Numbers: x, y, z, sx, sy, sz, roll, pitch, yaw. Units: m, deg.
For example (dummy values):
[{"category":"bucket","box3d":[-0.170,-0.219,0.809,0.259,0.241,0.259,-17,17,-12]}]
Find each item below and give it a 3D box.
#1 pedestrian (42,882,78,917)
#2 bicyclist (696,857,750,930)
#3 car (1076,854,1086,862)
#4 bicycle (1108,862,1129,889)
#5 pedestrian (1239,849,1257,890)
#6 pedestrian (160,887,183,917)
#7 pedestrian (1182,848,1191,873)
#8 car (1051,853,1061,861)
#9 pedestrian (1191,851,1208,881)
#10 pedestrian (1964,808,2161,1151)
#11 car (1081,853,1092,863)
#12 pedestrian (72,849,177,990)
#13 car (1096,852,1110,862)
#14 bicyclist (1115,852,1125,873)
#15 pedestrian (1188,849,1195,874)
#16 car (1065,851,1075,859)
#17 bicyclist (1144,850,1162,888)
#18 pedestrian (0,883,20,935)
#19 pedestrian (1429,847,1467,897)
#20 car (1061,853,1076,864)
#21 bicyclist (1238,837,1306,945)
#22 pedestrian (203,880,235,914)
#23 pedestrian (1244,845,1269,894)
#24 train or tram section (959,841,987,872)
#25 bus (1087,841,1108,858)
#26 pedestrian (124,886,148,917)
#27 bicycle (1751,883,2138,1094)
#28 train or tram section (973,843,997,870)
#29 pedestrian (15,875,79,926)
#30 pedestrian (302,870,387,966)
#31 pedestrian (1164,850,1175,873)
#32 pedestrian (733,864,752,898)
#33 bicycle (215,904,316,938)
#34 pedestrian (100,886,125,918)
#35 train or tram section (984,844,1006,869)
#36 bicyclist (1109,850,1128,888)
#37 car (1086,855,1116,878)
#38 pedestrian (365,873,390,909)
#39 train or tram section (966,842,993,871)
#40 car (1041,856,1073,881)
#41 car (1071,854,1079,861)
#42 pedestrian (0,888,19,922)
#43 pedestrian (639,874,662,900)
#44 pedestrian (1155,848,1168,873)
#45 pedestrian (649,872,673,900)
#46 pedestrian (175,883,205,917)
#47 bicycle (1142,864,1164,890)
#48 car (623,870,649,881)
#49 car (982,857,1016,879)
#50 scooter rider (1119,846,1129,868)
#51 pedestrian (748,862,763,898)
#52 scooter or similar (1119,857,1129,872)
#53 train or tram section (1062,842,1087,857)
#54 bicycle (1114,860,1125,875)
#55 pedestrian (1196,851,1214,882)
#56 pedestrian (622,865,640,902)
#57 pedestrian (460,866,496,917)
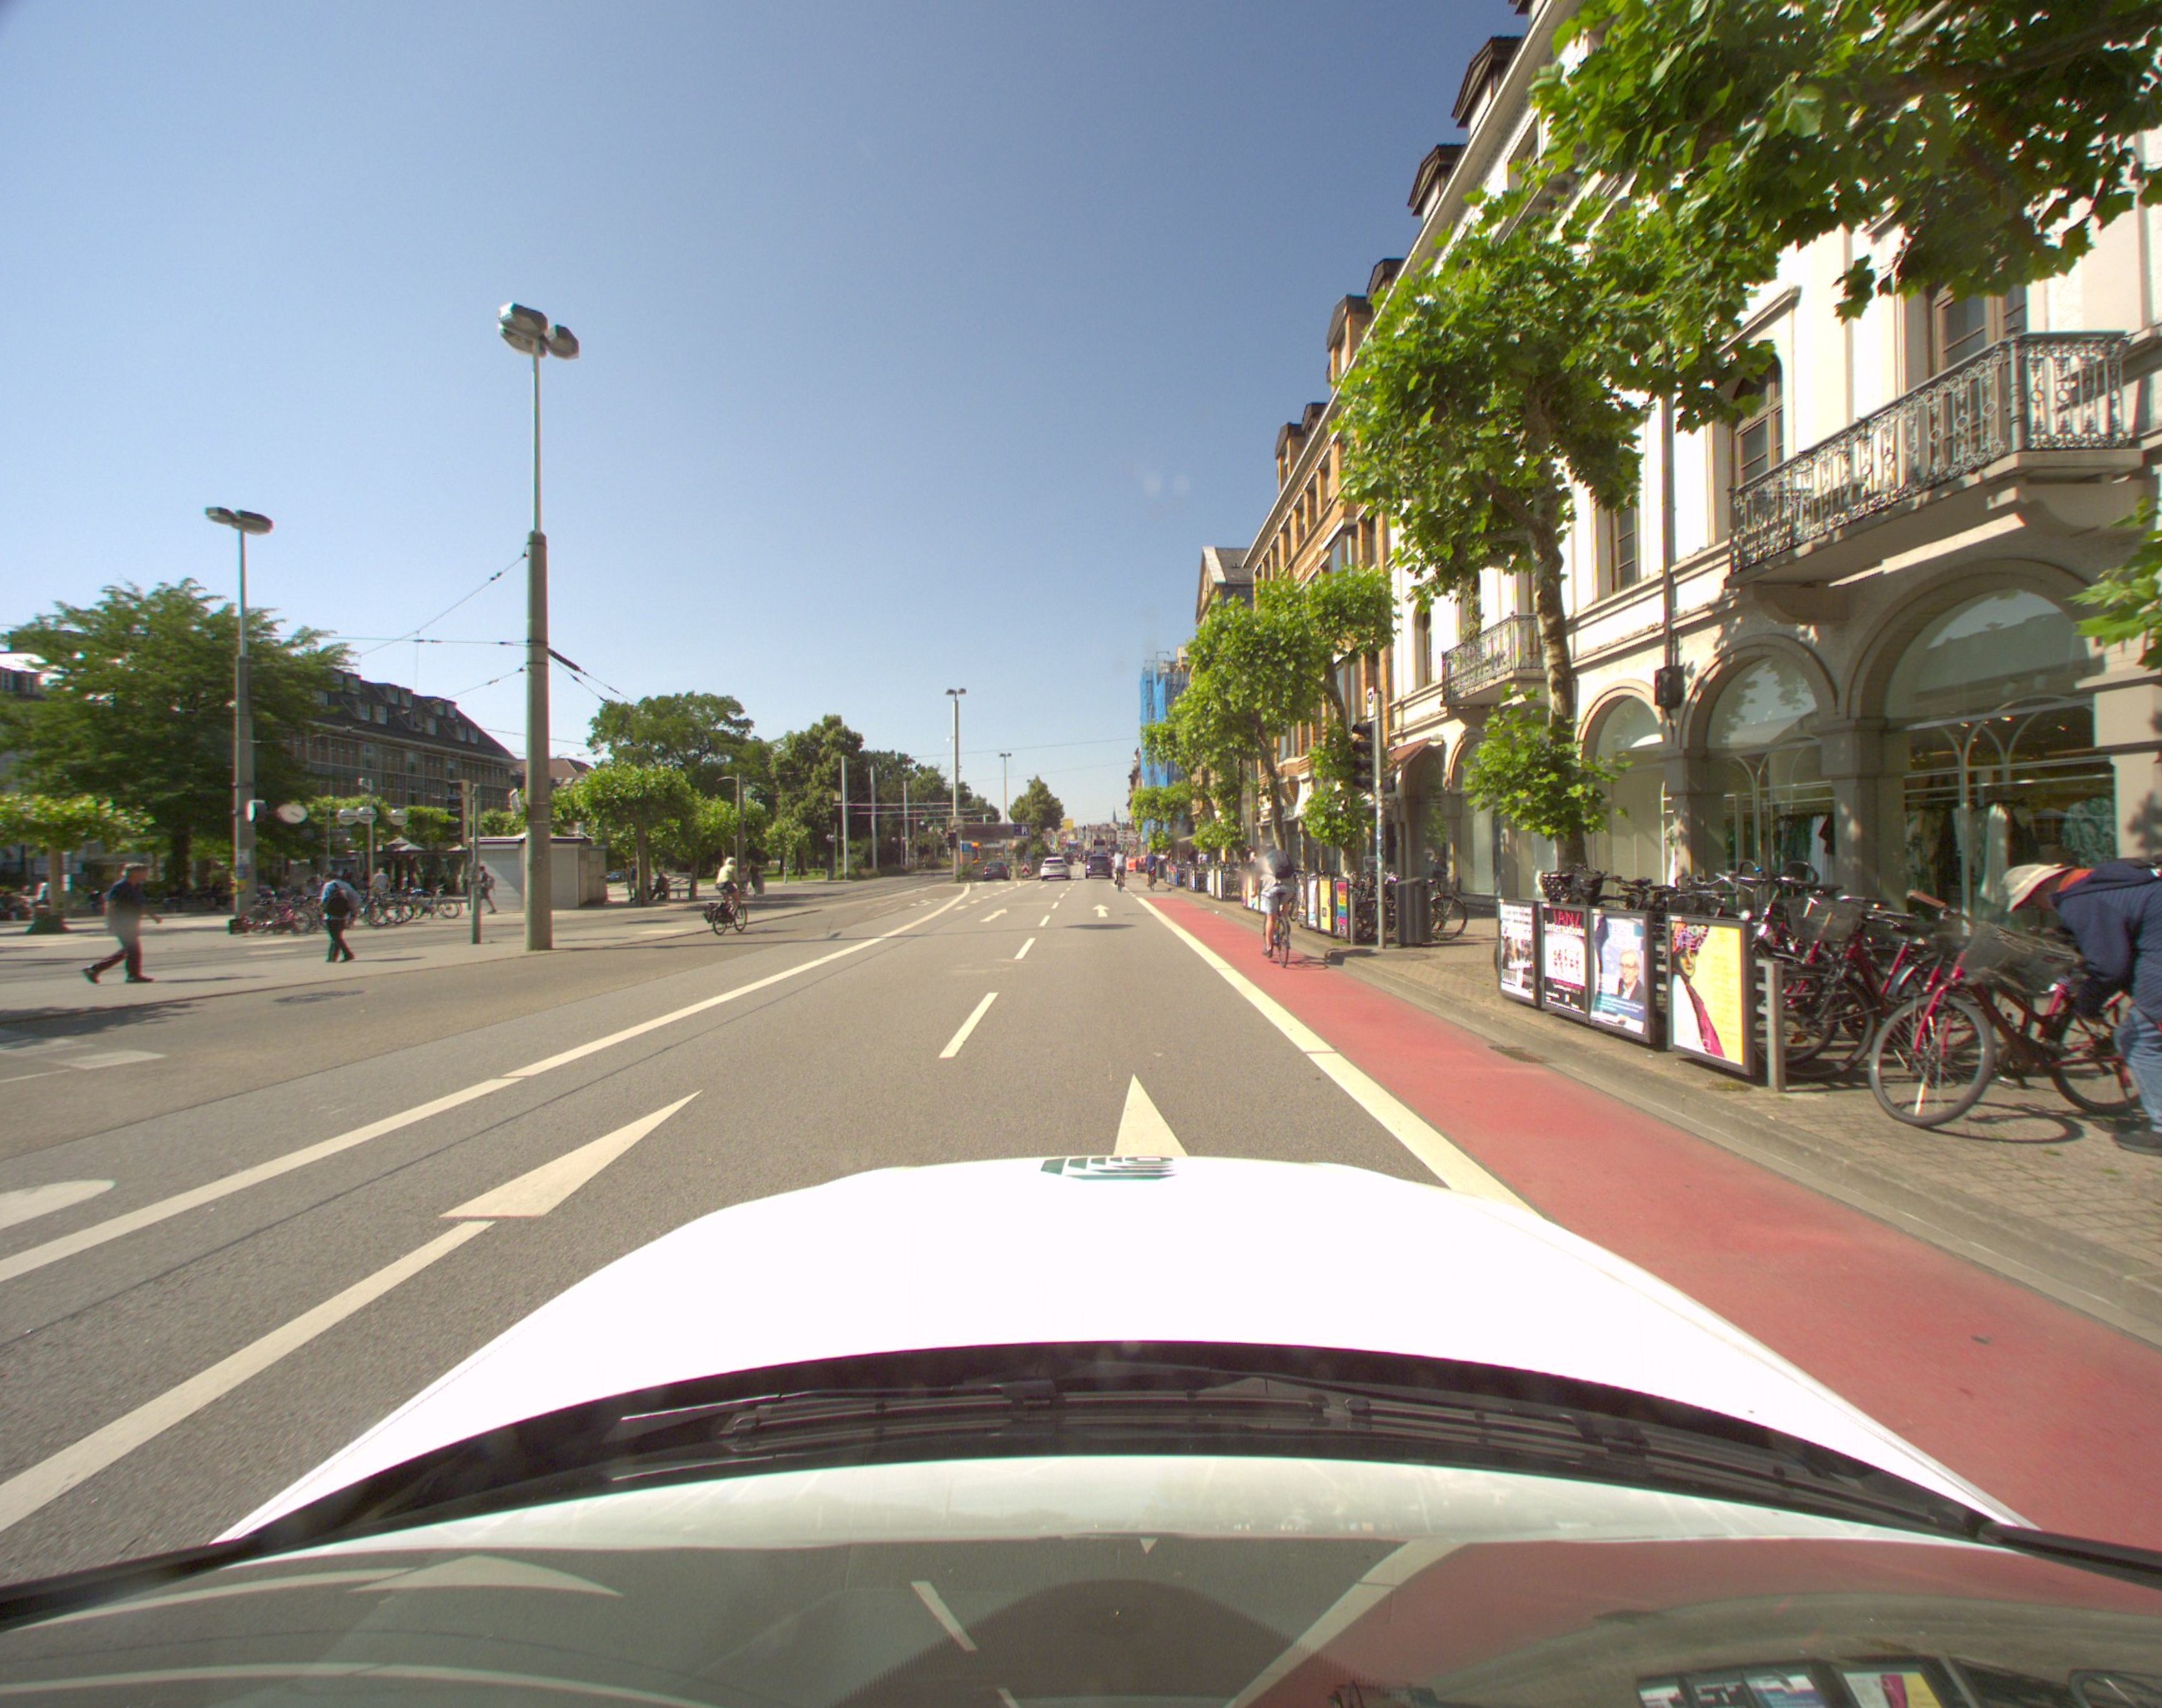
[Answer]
[{"category":"pedestrian","box3d":[-39.102,1.744,31.199,0.617,1.263,0.583,-3,0,9]},{"category":"bicyclist","box3d":[-8.434,0.913,19.233,0.815,1.622,0.902,-2,1,0]},{"category":"car","box3d":[0.067,0.618,124.323,1.447,1.300,3.342,1,0,0]},{"category":"bicycle","box3d":[1.584,0.891,34.666,0.732,1.093,1.897,1,0,-1]},{"category":"pedestrian","box3d":[7.429,0.679,36.262,0.665,1.781,0.986,-2,-1,5]},{"category":"pedestrian","box3d":[-39.738,2.078,35.579,0.513,1.263,0.455,-3,0,16]},{"category":"pedestrian","box3d":[7.122,0.444,55.085,0.495,1.683,0.538,-3,-1,8]},{"category":"car","box3d":[-4.302,0.472,141.108,1.446,1.300,4.001,1,0,1]},{"category":"pedestrian","box3d":[6.551,0.662,45.051,0.600,1.626,0.640,-4,0,-16]},{"category":"pedestrian","box3d":[4.997,0.566,3.998,0.603,1.538,0.666,1,0,-1]},{"category":"car","box3d":[0.781,0.597,111.382,1.447,1.300,3.340,1,0,-1]},{"category":"pedestrian","box3d":[-14.523,0.963,12.399,0.900,2.007,0.672,-3,0,-44]},{"category":"car","box3d":[3.303,0.451,122.338,1.986,1.492,4.001,1,0,1]},{"category":"bicyclist","box3d":[2.928,0.623,61.835,0.686,1.577,1.049,1,0,-1]},{"category":"pedestrian","box3d":[7.541,0.523,55.484,0.378,1.683,0.478,-2,-1,12]},{"category":"car","box3d":[-1.856,0.135,139.597,1.446,1.300,4.001,1,0,1]},{"category":"bicyclist","box3d":[3.154,0.642,35.628,0.686,1.616,0.918,1,0,-1]},{"category":"pedestrian","box3d":[-30.734,1.565,23.028,0.684,1.465,0.618,-4,1,-38]},{"category":"pedestrian","box3d":[9.425,0.458,20.930,0.719,1.252,0.595,0,-1,44]},{"category":"car","box3d":[-1.593,0.604,105.530,1.809,1.332,4.001,1,0,1]},{"category":"bicyclist","box3d":[2.718,0.509,11.696,0.686,1.463,1.142,1,0,-1]},{"category":"pedestrian","box3d":[-39.127,1.927,36.988,0.620,1.465,0.681,-3,0,5]},{"category":"pedestrian","box3d":[5.957,0.532,27.650,0.651,1.633,0.730,1,0,-2]},{"category":"train or tram section","box3d":[-13.089,0.320,99.165,2.605,3.581,6.103,1,0,0]},{"category":"bus","box3d":[2.854,-0.800,144.442,2.964,2.776,8.626,1,0,-5]},{"category":"pedestrian","box3d":[-40.233,2.007,34.674,0.513,1.263,0.455,-3,0,16]},{"category":"bicycle","box3d":[5.163,0.769,4.928,1.748,1.147,0.592,-1,0,-2]},{"category":"train or tram section","box3d":[-13.065,0.350,110.975,2.605,3.581,5.356,1,0,0]},{"category":"pedestrian","box3d":[-39.061,1.751,30.783,0.959,1.793,1.083,-3,0,9]},{"category":"pedestrian","box3d":[-13.306,1.134,14.730,0.892,1.658,0.678,-1,0,-9]},{"category":"pedestrian","box3d":[7.308,0.612,66.998,0.810,1.848,0.893,-3,-1,8]},{"category":"pedestrian","box3d":[-16.508,1.326,39.733,0.521,1.609,0.628,-3,0,9]},{"category":"bicycle","box3d":[-21.566,1.771,21.573,1.866,0.856,0.544,1,0,-13]},{"category":"pedestrian","box3d":[-40.388,2.003,33.953,0.513,1.263,0.455,-3,0,16]},{"category":"train or tram section","box3d":[-13.030,0.383,123.564,2.605,3.581,6.016,1,0,0]},{"category":"bicyclist","box3d":[1.586,0.642,34.554,0.686,1.577,1.049,1,0,-1]},{"category":"car","box3d":[1.335,0.808,53.998,1.867,1.492,4.001,1,0,1]},{"category":"pedestrian","box3d":[-29.925,1.577,34.629,0.684,1.465,0.618,-4,1,-36]},{"category":"train or tram section","box3d":[-13.081,0.336,105.255,2.605,3.581,6.103,1,0,0]},{"category":"car","box3d":[-1.495,0.920,52.293,1.852,1.507,4.001,1,0,1]},{"category":"car","box3d":[-1.216,0.682,156.679,1.447,1.300,3.341,1,0,0]},{"category":"pedestrian","box3d":[-41.221,1.971,31.157,0.514,1.263,0.454,-3,0,5]},{"category":"pedestrian","box3d":[-20.312,1.544,38.435,0.674,1.171,0.751,-4,0,-6]},{"category":"pedestrian","box3d":[5.427,0.447,54.936,0.657,1.683,0.650,-1,-1,-16]},{"category":"pedestrian","box3d":[-19.540,1.492,37.874,0.674,1.246,0.751,-3,0,-6]},{"category":"pedestrian","box3d":[-39.671,2.024,36.256,0.619,1.465,0.683,-1,0,13]},{"category":"bicycle","box3d":[3.144,0.978,35.655,0.732,1.093,1.910,1,0,-1]},{"category":"car","box3d":[-64.101,3.041,117.297,1.753,1.508,3.992,1,0,-5]},{"category":"car","box3d":[-5.813,0.967,57.848,1.987,1.508,3.999,1,0,0]},{"category":"scooter rider","box3d":[3.454,0.246,65.075,0.686,1.729,0.778,1,0,-1]},{"category":"pedestrian","box3d":[-15.866,1.254,39.665,0.528,1.733,0.582,-4,0,-30]},{"category":"scooter or similar","box3d":[3.428,0.800,65.034,0.686,1.167,1.463,1,0,-1]},{"category":"train or tram section","box3d":[-1.497,-1.033,203.154,2.799,3.581,10.081,1,0,20]},{"category":"bicycle","box3d":[2.904,1.014,61.873,0.732,1.093,1.897,1,0,0]},{"category":"pedestrian","box3d":[6.739,0.685,44.403,0.697,1.626,0.698,-2,0,-16]},{"category":"pedestrian","box3d":[-20.026,1.317,36.252,0.577,1.609,0.598,-4,0,-29]},{"category":"pedestrian","box3d":[-21.575,1.325,29.150,0.753,1.728,0.832,-4,0,-23]}]
